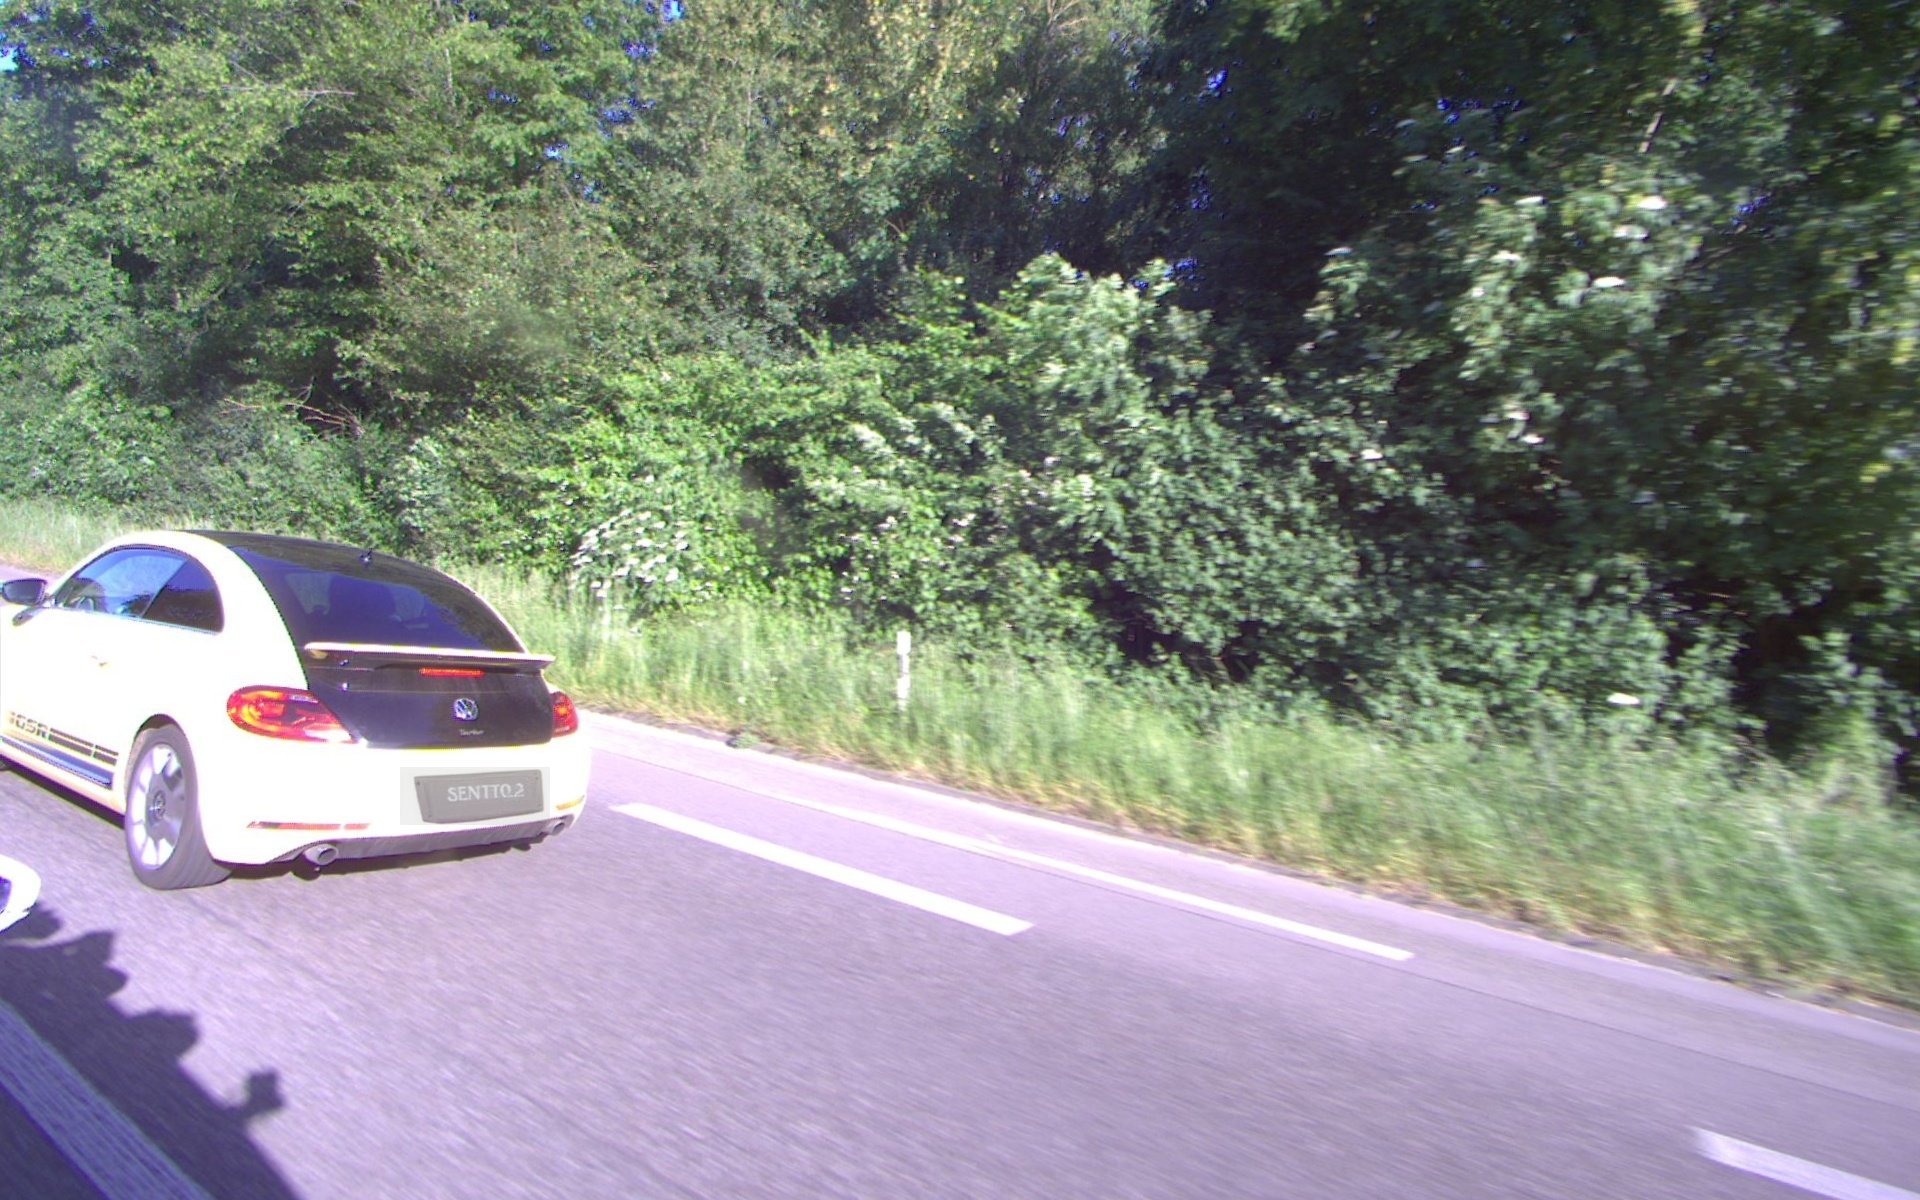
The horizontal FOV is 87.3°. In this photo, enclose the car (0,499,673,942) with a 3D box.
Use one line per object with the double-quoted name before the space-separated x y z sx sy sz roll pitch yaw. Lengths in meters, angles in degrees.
"car" -3.887 0.374 5.554 4.283 1.479 1.883 7 -1 31
